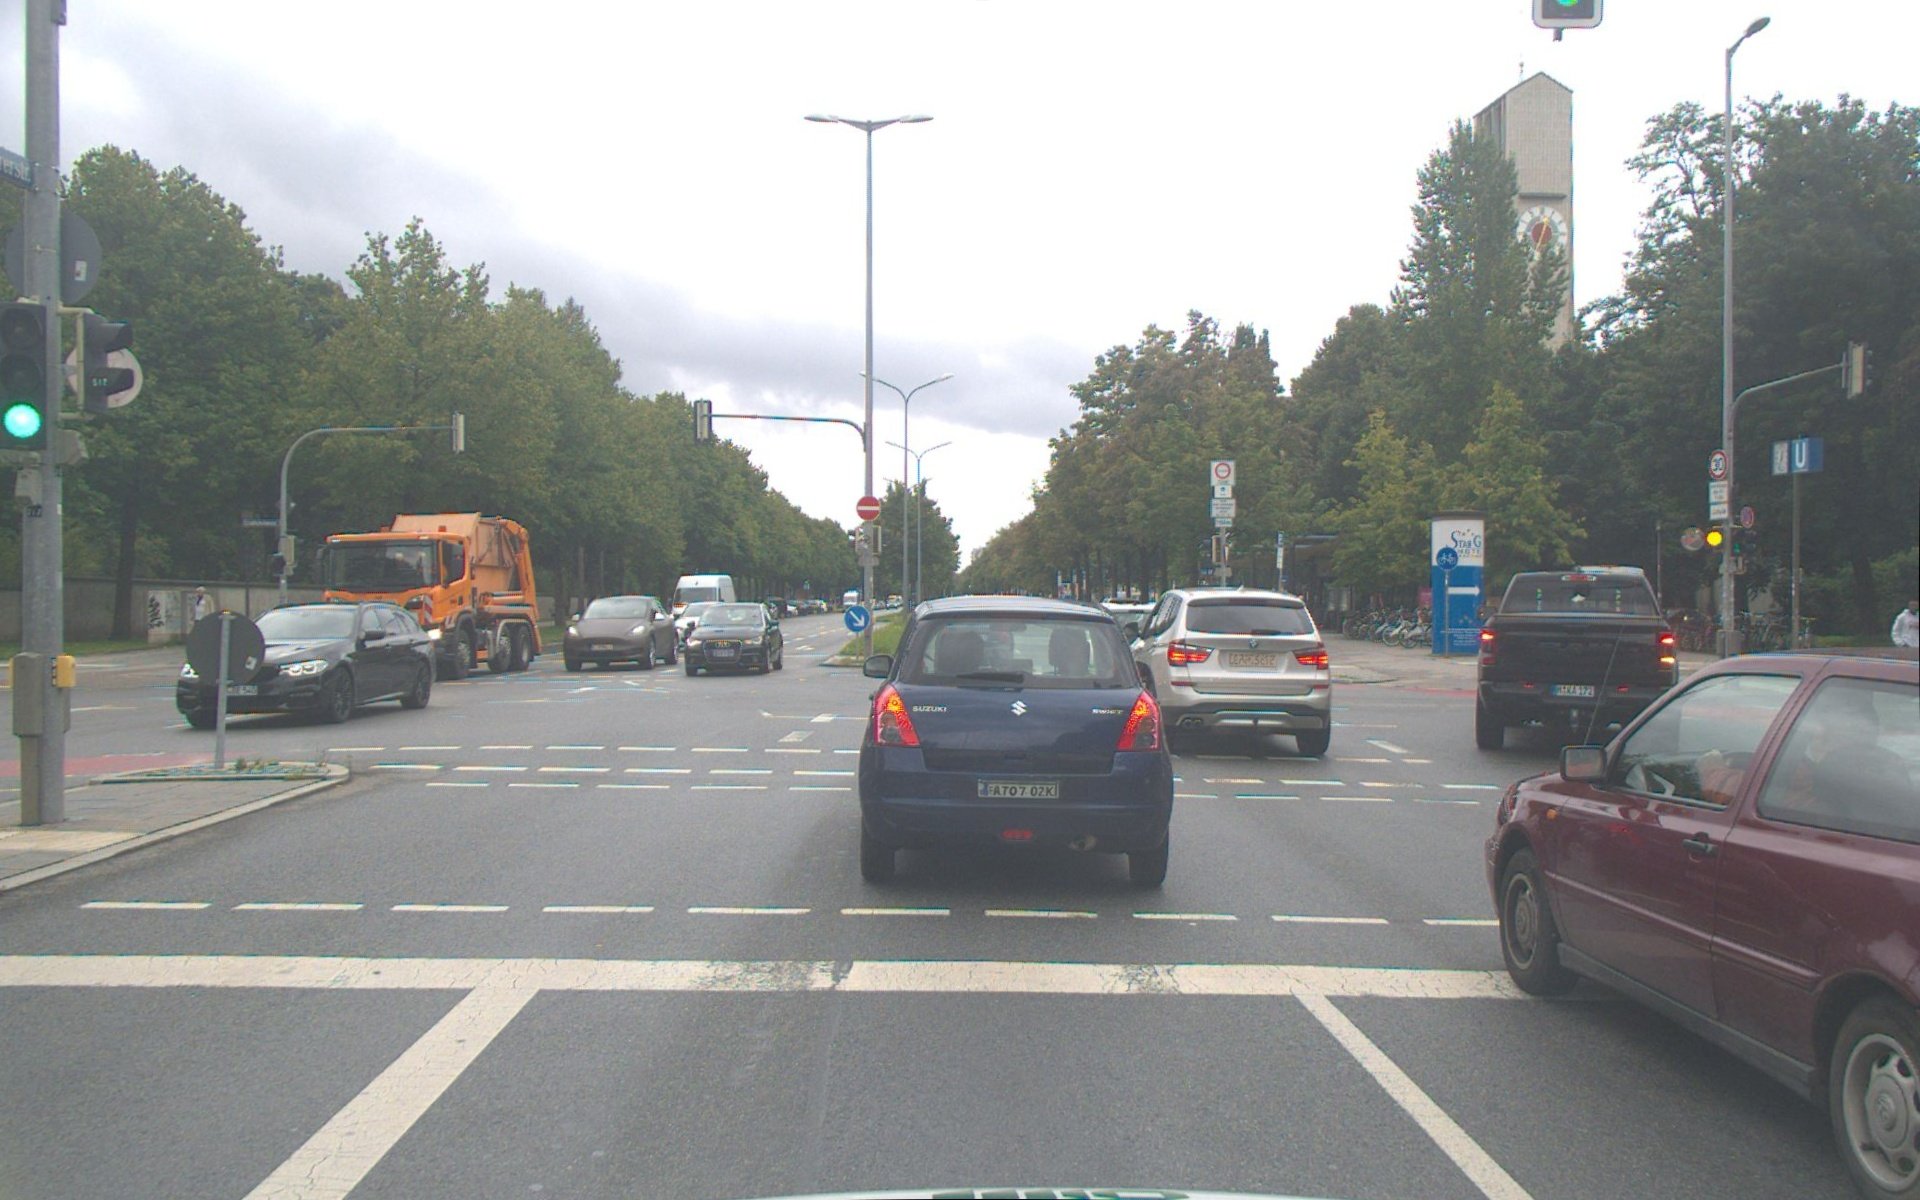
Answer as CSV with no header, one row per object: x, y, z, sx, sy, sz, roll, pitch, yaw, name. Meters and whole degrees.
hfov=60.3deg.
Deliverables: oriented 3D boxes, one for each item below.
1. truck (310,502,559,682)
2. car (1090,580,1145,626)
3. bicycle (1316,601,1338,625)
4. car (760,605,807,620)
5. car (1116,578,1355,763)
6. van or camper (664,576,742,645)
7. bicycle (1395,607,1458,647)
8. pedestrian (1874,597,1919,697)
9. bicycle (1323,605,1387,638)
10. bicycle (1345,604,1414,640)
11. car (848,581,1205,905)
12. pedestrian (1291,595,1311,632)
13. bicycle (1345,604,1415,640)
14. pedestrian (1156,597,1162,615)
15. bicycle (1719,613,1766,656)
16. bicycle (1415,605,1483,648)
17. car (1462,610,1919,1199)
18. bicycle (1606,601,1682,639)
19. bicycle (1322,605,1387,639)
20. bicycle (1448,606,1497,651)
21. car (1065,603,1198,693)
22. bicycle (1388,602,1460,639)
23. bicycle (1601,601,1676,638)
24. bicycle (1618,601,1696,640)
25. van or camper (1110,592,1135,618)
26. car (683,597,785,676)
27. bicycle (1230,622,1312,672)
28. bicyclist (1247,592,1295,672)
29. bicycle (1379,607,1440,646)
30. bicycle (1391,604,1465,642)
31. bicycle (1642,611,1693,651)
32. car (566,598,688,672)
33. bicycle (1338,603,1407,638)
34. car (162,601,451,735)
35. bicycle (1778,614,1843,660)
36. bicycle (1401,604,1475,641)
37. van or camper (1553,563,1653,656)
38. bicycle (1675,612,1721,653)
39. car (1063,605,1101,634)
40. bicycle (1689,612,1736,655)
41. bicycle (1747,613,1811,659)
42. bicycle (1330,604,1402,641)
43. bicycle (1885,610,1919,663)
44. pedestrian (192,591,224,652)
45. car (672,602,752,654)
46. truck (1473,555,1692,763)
-10.891,-0.130,35.151,2.723,3.415,7.268,0,0,2,truck
6.269,0.111,66.378,1.711,1.754,4.906,1,0,0,car
20.453,0.717,92.270,0.632,1.303,2.550,0,0,0,bicycle
-16.376,1.126,153.732,3.954,1.378,1.828,0,0,-35,car
2.841,0.681,17.933,1.813,1.773,4.096,0,0,-2,car
-10.638,0.420,69.055,2.133,2.693,6.950,-2,0,-1,van or camper
14.213,0.830,50.379,1.774,1.162,0.566,-2,0,-12,bicycle
16.765,0.816,29.147,0.745,1.733,0.937,0,0,-10,pedestrian
15.031,0.822,62.944,2.291,1.178,0.529,-2,0,-1,bicycle
14.963,0.775,58.984,2.291,1.178,0.529,-2,0,-1,bicycle
0.273,0.704,10.124,1.753,1.583,3.998,0,0,-2,car
14.387,0.575,69.743,0.569,1.539,0.691,0,0,-19,pedestrian
14.826,0.762,58.432,2.291,1.178,0.529,-2,0,-1,bicycle
19.646,0.633,163.068,0.563,1.782,0.732,0,0,4,pedestrian
21.874,0.947,46.235,0.705,1.174,2.118,0,0,39,bicycle
14.730,0.788,49.806,1.905,1.233,0.566,-2,0,-12,bicycle
3.011,0.782,5.270,1.589,1.479,3.949,0,0,-1,car
22.888,0.656,55.358,2.291,1.178,0.529,-2,0,-1,bicycle
14.800,0.816,62.028,2.295,1.178,0.528,-2,0,-9,bicycle
14.534,0.789,46.950,0.843,1.219,2.000,-2,0,4,bicycle
2.964,0.797,29.358,1.813,1.472,4.096,0,0,-2,car
16.070,0.711,57.257,2.291,1.178,0.585,-2,0,-1,bicycle
23.002,0.659,56.049,2.291,1.178,0.529,-2,0,-1,bicycle
22.831,0.654,54.180,2.291,1.178,0.529,-2,0,-1,bicycle
16.560,0.477,168.645,1.982,2.602,5.956,0,0,0,van or camper
-4.538,0.711,33.614,1.606,1.513,3.780,0,0,-1,car
7.118,1.064,37.822,1.926,1.100,0.738,0,0,-36,bicycle
7.109,0.717,37.819,0.818,1.795,0.737,0,-1,-36,bicyclist
14.071,0.828,51.777,1.767,1.162,0.568,-2,0,9,bicycle
15.707,0.766,55.528,2.291,1.178,0.585,-2,0,-1,bicycle
21.376,0.935,49.946,0.706,1.174,2.114,0,0,44,bicycle
-7.498,0.748,37.678,1.824,1.569,4.749,0,0,0,car
14.844,0.742,59.533,2.291,1.178,0.529,-2,0,-1,bicycle
-8.308,0.788,21.575,1.887,1.487,4.897,-2,0,-1,car
22.367,0.956,43.528,0.682,1.174,2.129,0,0,2,bicycle
16.232,0.760,56.183,2.291,1.178,0.585,-2,0,-1,bicycle
17.364,0.249,44.927,2.096,2.336,6.202,0,0,17,van or camper
21.647,0.942,48.478,0.705,1.174,2.118,0,0,39,bicycle
6.542,1.021,89.013,1.682,1.535,4.223,0,0,0,car
21.293,0.933,46.774,0.705,1.174,2.118,0,0,39,bicycle
21.561,0.939,43.586,0.701,1.174,2.129,0,0,2,bicycle
13.874,0.769,56.546,2.291,1.178,0.585,-2,0,-1,bicycle
23.675,0.888,40.168,0.692,1.272,2.097,0,0,-26,bicycle
-22.039,0.632,48.470,0.693,1.771,0.517,0,0,-5,pedestrian
-7.554,0.817,50.783,1.692,1.513,4.742,0,0,1,car
7.187,0.585,19.376,2.055,2.049,5.814,0,0,19,truck
